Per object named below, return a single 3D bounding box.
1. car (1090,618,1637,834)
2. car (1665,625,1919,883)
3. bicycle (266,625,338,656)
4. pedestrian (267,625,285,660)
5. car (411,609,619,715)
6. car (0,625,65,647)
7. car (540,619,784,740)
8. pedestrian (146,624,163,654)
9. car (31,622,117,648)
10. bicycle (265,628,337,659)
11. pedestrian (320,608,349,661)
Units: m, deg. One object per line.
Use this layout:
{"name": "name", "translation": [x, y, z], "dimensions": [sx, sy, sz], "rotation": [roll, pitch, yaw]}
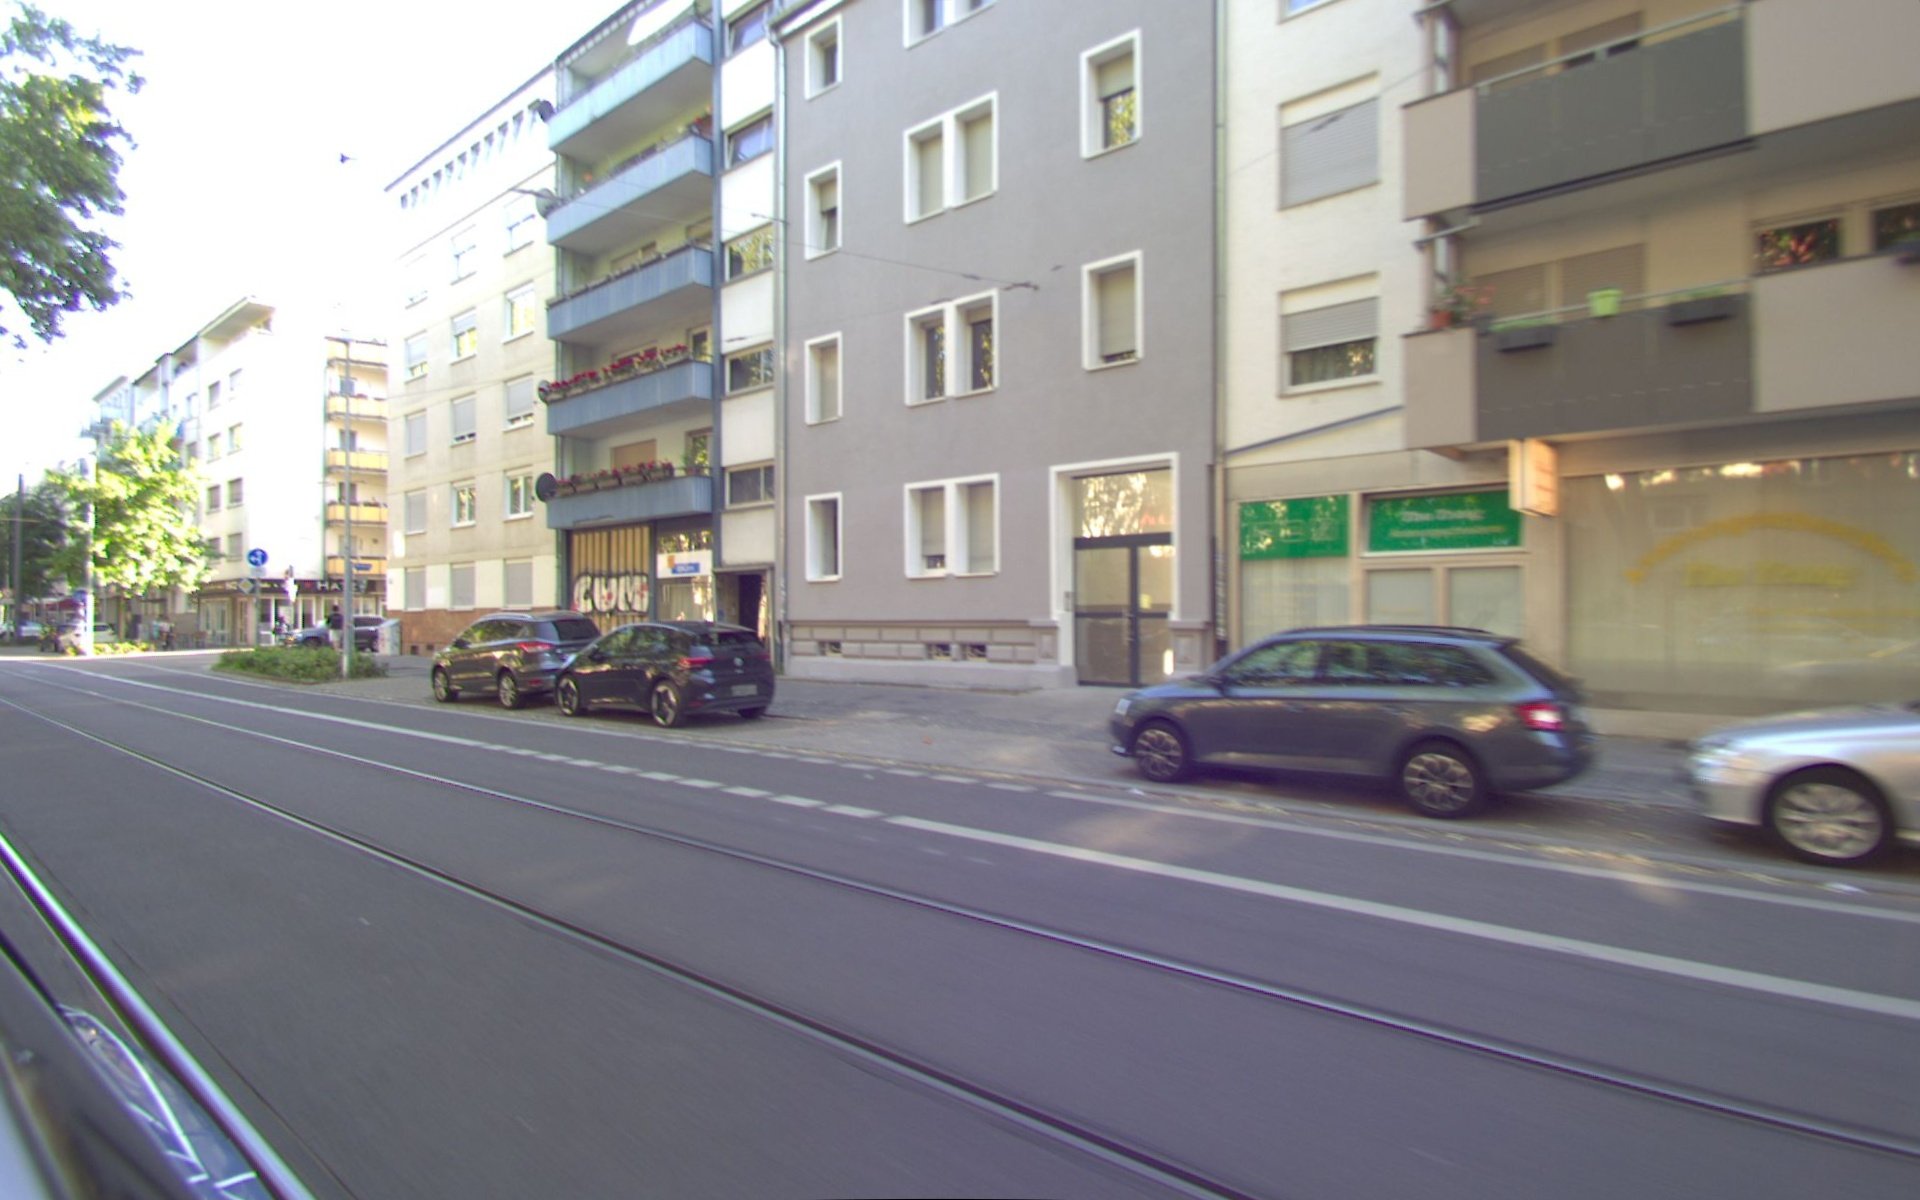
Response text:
{"name": "car", "translation": [3.449, 0.923, 9.116], "dimensions": [4.237, 1.502, 1.775], "rotation": [-1, -2, 40]}
{"name": "car", "translation": [7.054, 0.904, 5.840], "dimensions": [4.727, 1.502, 1.671], "rotation": [-1, -2, 42]}
{"name": "bicycle", "translation": [-30.808, 1.898, 47.425], "dimensions": [2.762, 1.323, 0.540], "rotation": [-1, 0, -30]}
{"name": "pedestrian", "translation": [-30.510, 1.899, 45.147], "dimensions": [0.587, 1.516, 0.656], "rotation": [-1, 0, -41]}
{"name": "car", "translation": [-8.558, 1.103, 19.290], "dimensions": [4.485, 1.751, 1.762], "rotation": [-1, 0, 39]}
{"name": "car", "translation": [-65.874, 2.530, 71.479], "dimensions": [1.587, 1.535, 3.899], "rotation": [-2, -2, 44]}
{"name": "car", "translation": [-4.797, 1.150, 15.998], "dimensions": [4.199, 1.612, 1.639], "rotation": [-1, 0, 40]}
{"name": "pedestrian", "translation": [-41.767, 2.033, 52.485], "dimensions": [0.655, 1.516, 0.588], "rotation": [-1, 0, 41]}
{"name": "car", "translation": [-55.165, 2.150, 63.038], "dimensions": [1.587, 1.535, 3.899], "rotation": [-2, -2, 44]}
{"name": "bicycle", "translation": [-30.514, 2.007, 46.918], "dimensions": [2.762, 1.323, 0.540], "rotation": [-1, 0, -30]}
{"name": "pedestrian", "translation": [-22.983, 1.267, 37.204], "dimensions": [0.762, 1.913, 0.800], "rotation": [-1, 0, -41]}
